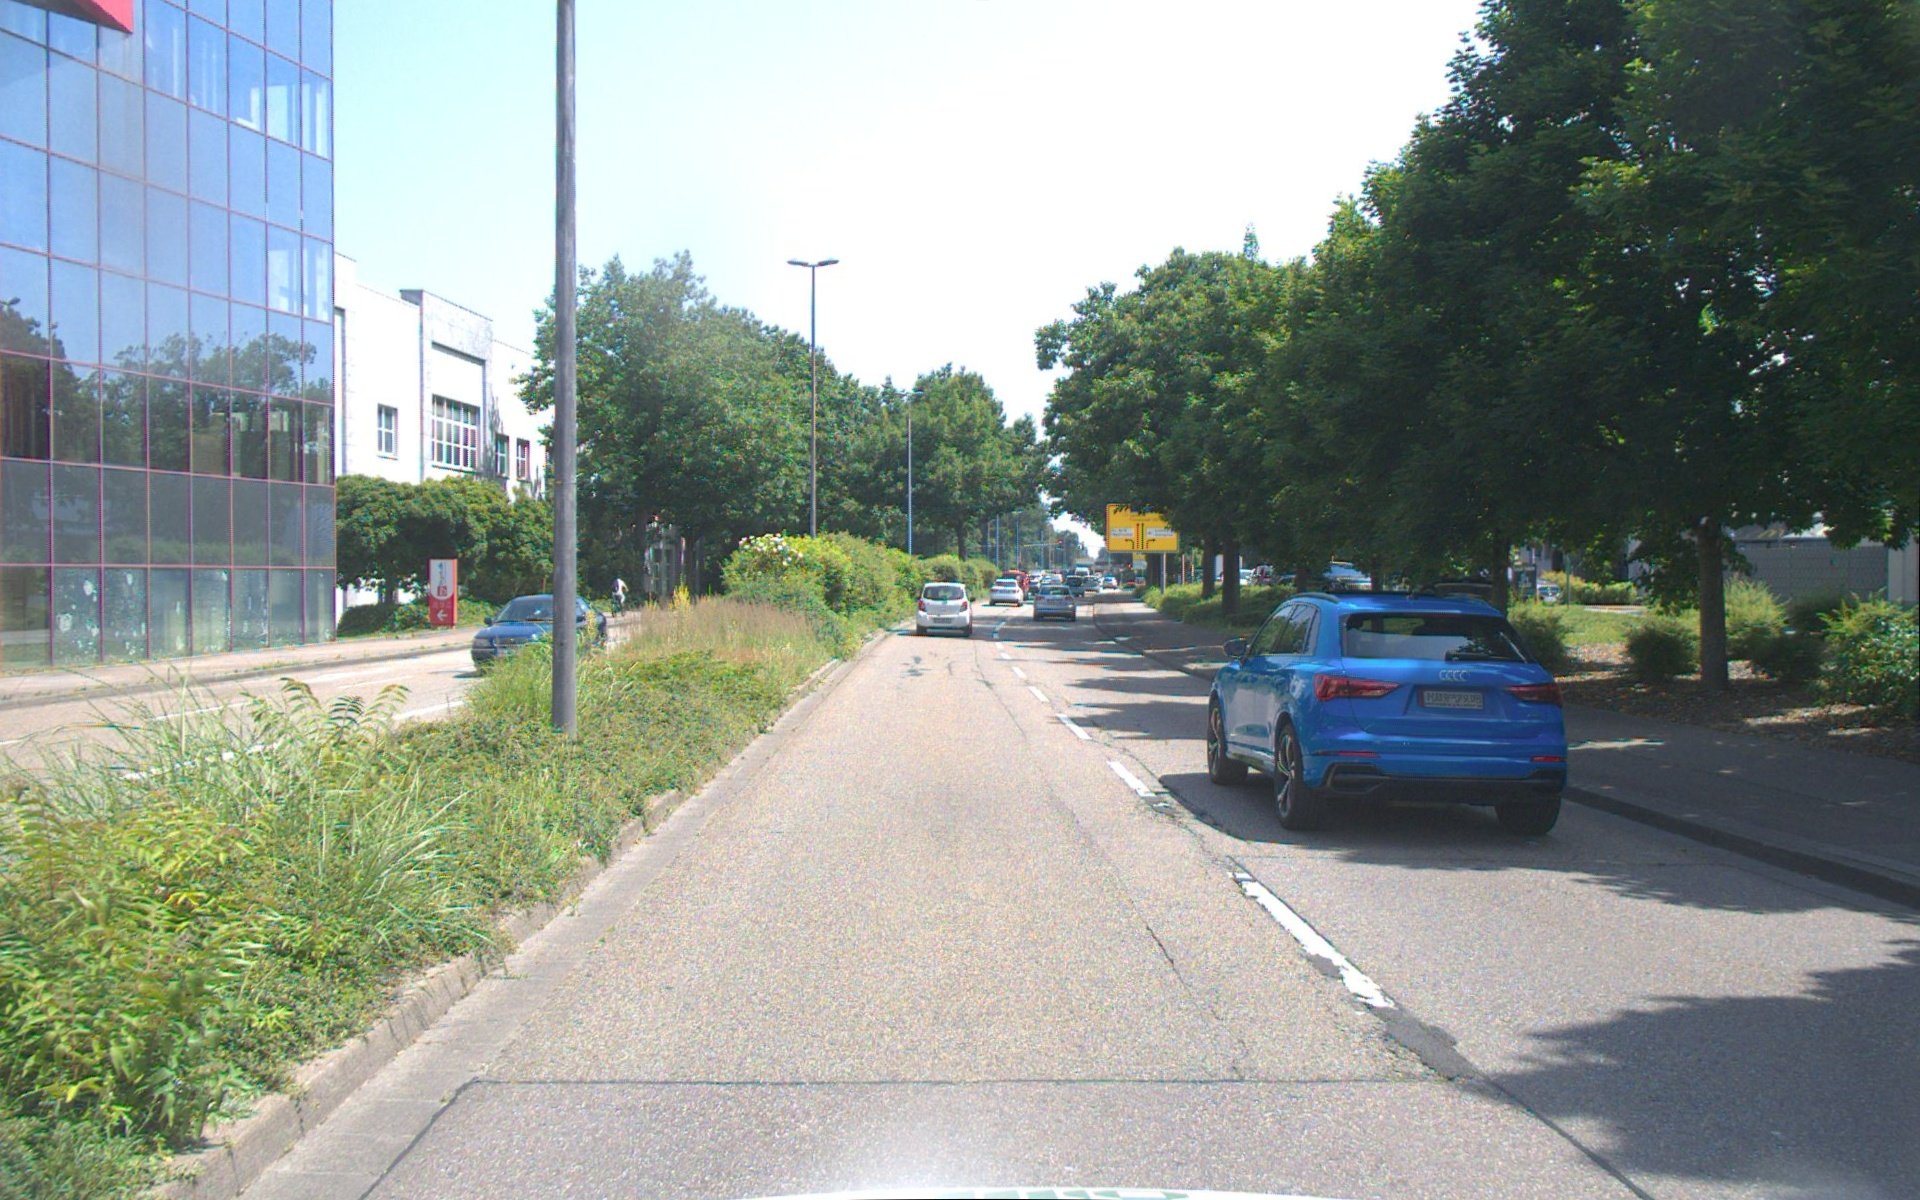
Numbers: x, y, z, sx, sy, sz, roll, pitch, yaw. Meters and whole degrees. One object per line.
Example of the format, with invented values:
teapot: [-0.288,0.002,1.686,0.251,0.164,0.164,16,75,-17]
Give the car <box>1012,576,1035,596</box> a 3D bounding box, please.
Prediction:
car: [4.566,-1.023,119.587,1.457,1.416,3.307,1,0,0]

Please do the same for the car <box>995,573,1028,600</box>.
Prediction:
car: [3.268,-0.820,104.440,1.845,1.636,4.002,1,0,4]

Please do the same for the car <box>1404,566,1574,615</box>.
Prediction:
car: [15.589,-0.264,48.955,1.928,1.375,4.663,-1,0,-32]

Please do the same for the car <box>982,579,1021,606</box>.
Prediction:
car: [2.231,-0.386,88.781,1.845,1.378,4.002,1,0,5]

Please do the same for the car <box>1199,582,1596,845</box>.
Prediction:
car: [3.039,0.696,12.462,1.772,1.620,4.348,1,0,-1]

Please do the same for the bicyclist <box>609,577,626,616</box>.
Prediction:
bicyclist: [-13.705,-0.147,66.130,0.534,1.536,0.343,-3,0,-1]

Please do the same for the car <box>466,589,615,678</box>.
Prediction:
car: [-7.697,0.560,30.750,1.687,1.441,4.246,-2,1,-1]

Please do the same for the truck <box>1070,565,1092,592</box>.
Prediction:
truck: [16.587,-2.971,225.961,2.870,3.563,9.164,0,1,5]

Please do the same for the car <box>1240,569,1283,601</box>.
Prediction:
car: [12.595,-0.628,69.268,1.584,1.275,3.767,1,0,8]

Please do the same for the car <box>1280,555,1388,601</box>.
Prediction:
car: [12.768,-0.750,56.821,1.869,1.476,5.593,1,0,-7]

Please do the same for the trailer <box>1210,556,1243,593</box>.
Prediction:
trailer: [15.338,-1.484,95.385,1.664,2.091,5.488,0,1,7]

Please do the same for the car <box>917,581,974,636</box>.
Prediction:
car: [-0.408,0.244,49.185,1.605,1.579,3.325,0,0,1]

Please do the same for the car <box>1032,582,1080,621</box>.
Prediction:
car: [3.841,0.067,66.648,1.827,1.498,4.001,1,0,2]

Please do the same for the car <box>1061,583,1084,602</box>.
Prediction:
car: [8.378,-0.540,122.830,1.412,1.371,3.460,-2,0,0]

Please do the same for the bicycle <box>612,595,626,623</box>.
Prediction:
bicycle: [-13.654,0.347,66.205,0.339,1.086,0.923,-2,0,0]
